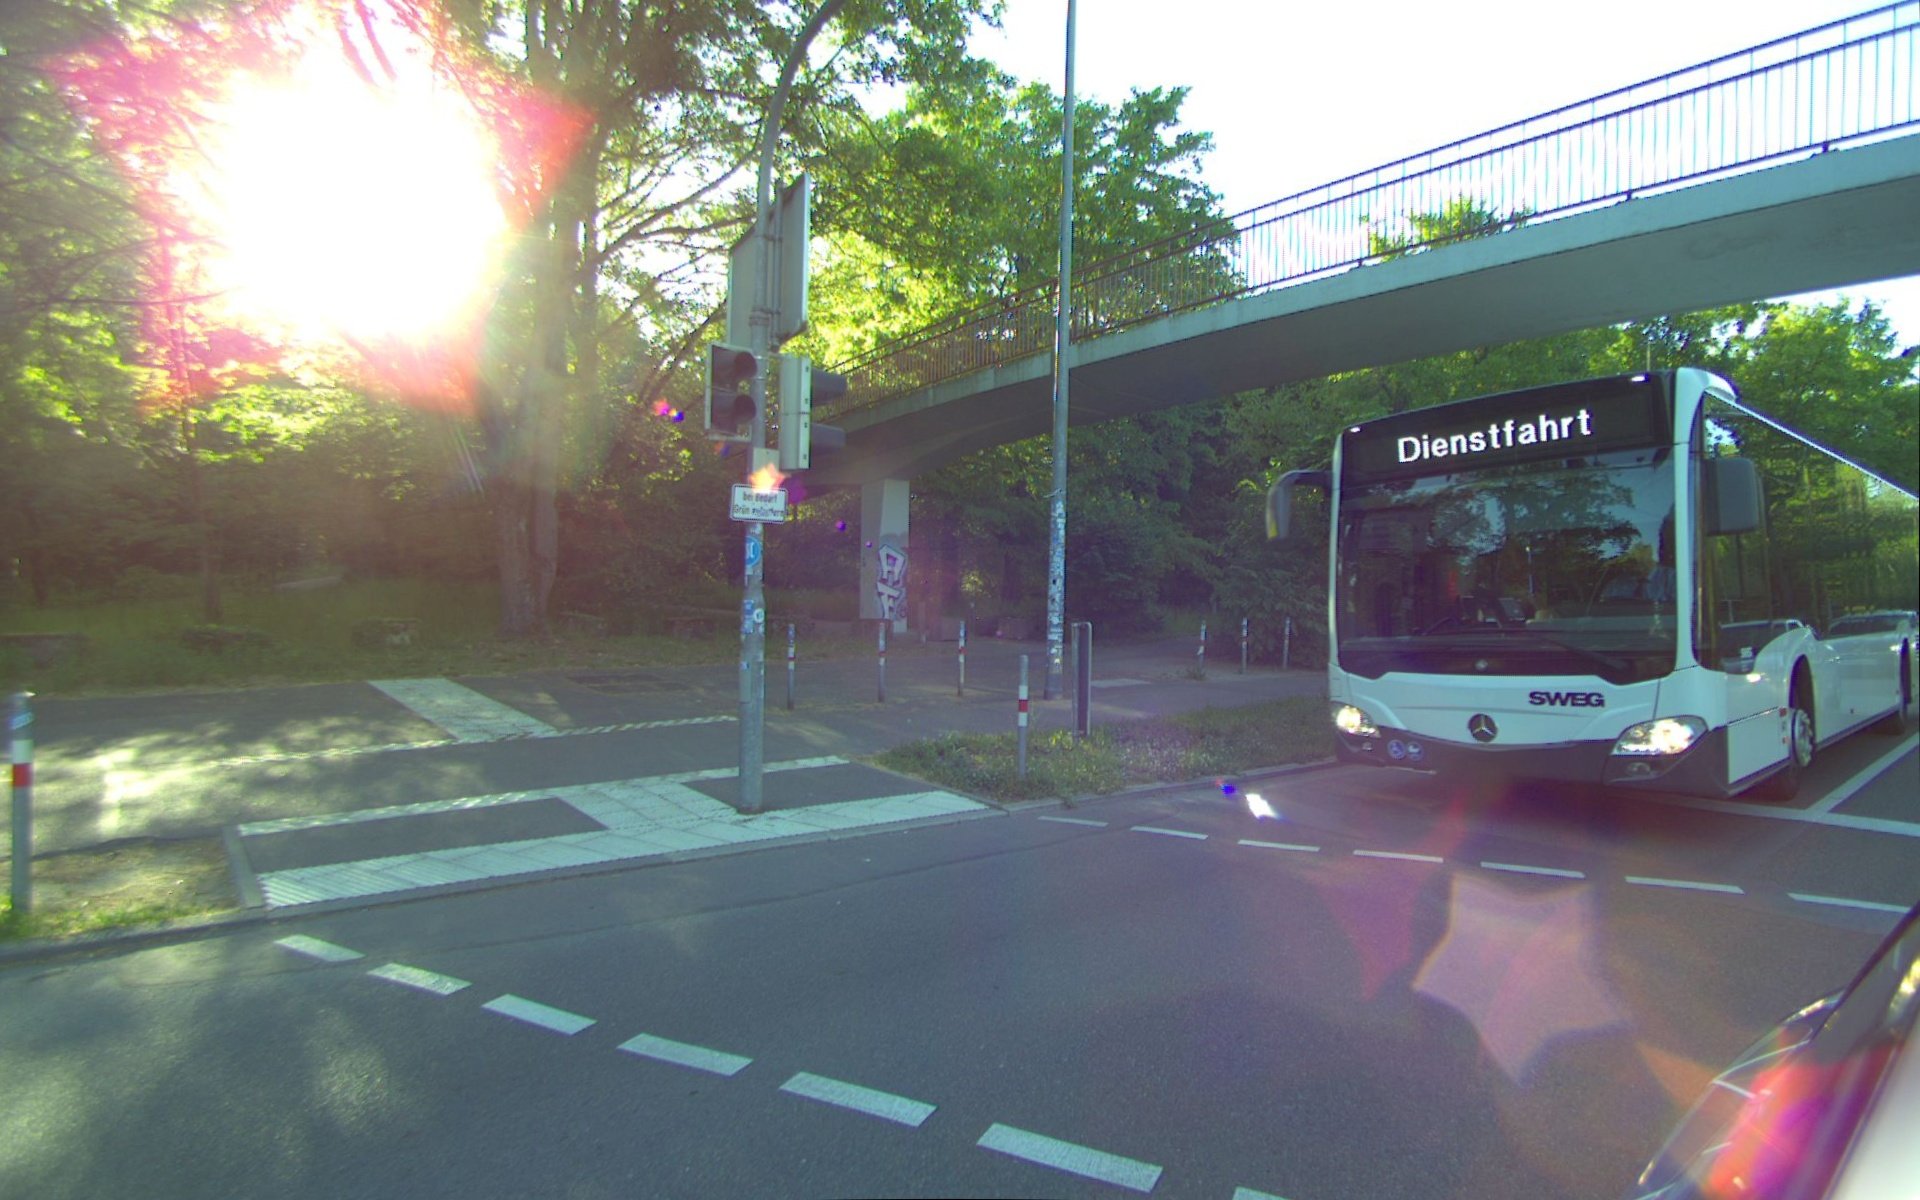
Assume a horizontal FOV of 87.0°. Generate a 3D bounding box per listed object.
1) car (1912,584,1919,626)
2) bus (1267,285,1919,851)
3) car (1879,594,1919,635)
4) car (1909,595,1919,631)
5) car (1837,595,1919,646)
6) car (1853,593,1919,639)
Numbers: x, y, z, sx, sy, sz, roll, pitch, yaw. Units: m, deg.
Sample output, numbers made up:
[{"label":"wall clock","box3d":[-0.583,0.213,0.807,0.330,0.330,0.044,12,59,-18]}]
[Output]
[{"label":"car","box3d":[47.339,0.258,48.476,4.954,2.000,2.016,0,2,-41]},{"label":"bus","box3d":[7.936,-0.175,10.710,12.056,3.127,3.016,0,-1,-41]},{"label":"car","box3d":[38.360,0.561,40.583,4.319,1.526,1.736,0,2,-41]},{"label":"car","box3d":[42.930,0.575,44.214,4.319,1.526,1.736,0,2,-41]},{"label":"car","box3d":[30.482,0.614,33.433,4.065,1.526,1.703,0,2,-41]},{"label":"car","box3d":[34.436,0.549,37.305,4.152,1.526,1.736,0,2,-41]}]
